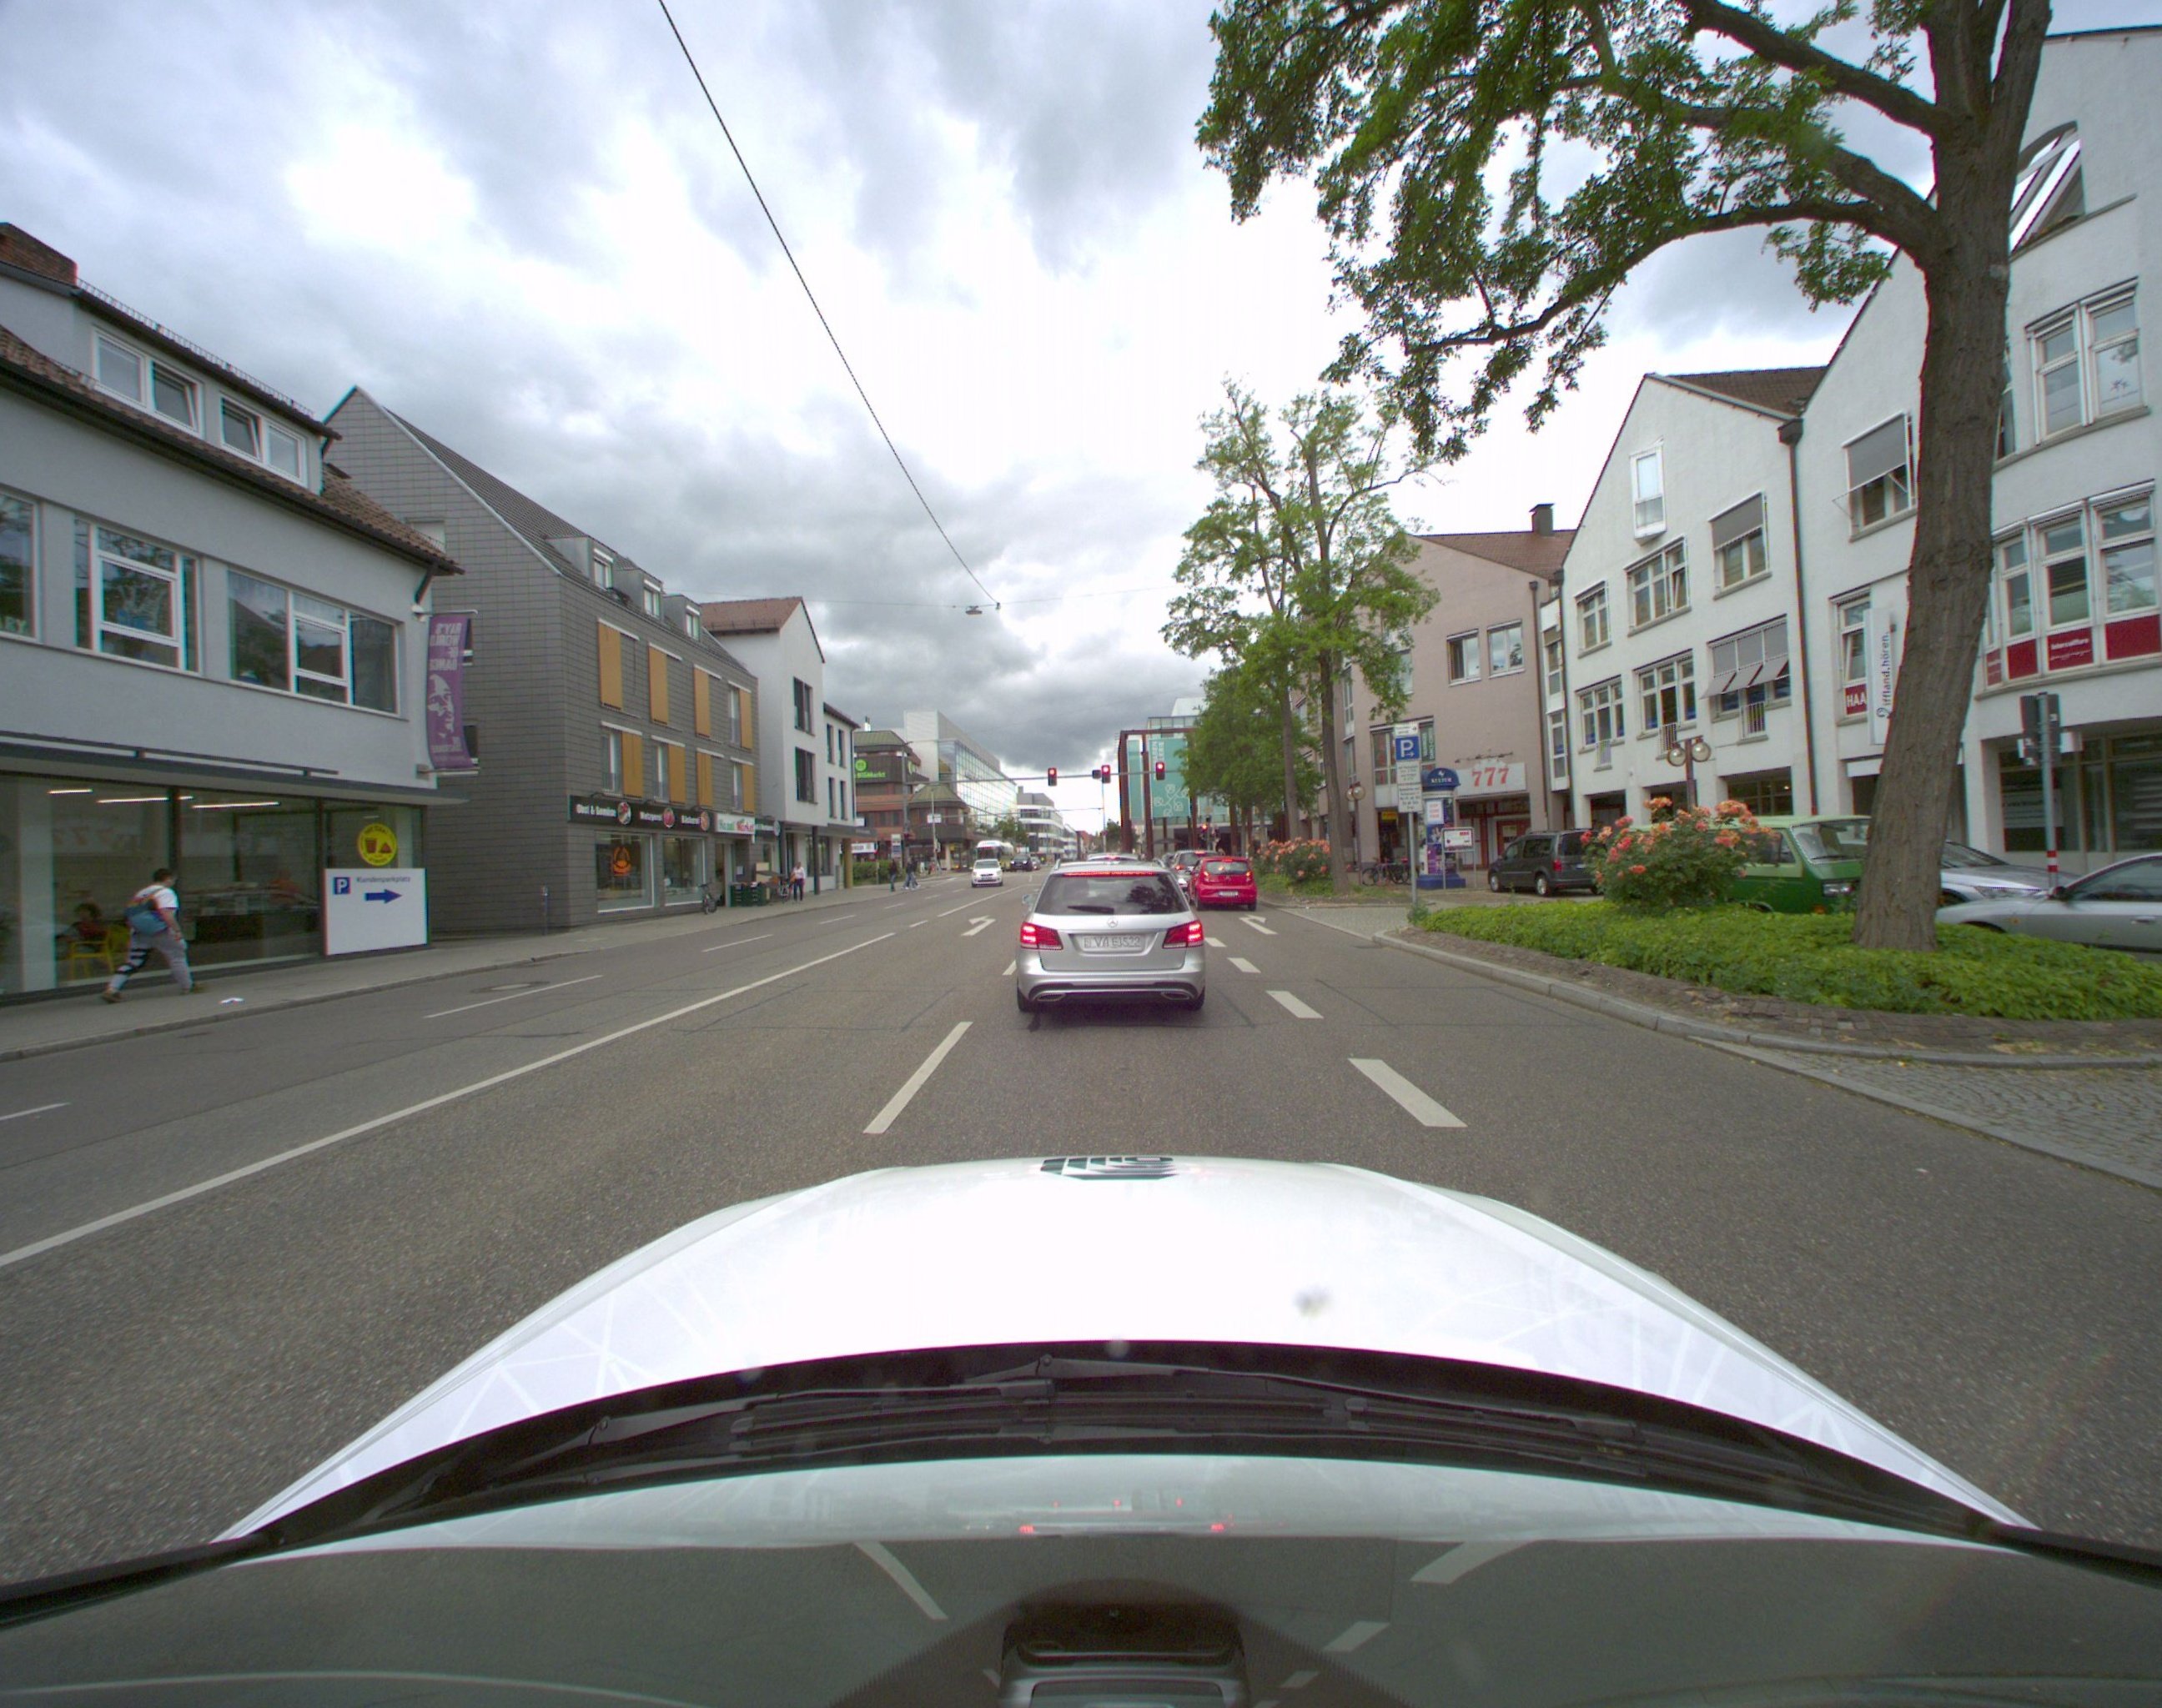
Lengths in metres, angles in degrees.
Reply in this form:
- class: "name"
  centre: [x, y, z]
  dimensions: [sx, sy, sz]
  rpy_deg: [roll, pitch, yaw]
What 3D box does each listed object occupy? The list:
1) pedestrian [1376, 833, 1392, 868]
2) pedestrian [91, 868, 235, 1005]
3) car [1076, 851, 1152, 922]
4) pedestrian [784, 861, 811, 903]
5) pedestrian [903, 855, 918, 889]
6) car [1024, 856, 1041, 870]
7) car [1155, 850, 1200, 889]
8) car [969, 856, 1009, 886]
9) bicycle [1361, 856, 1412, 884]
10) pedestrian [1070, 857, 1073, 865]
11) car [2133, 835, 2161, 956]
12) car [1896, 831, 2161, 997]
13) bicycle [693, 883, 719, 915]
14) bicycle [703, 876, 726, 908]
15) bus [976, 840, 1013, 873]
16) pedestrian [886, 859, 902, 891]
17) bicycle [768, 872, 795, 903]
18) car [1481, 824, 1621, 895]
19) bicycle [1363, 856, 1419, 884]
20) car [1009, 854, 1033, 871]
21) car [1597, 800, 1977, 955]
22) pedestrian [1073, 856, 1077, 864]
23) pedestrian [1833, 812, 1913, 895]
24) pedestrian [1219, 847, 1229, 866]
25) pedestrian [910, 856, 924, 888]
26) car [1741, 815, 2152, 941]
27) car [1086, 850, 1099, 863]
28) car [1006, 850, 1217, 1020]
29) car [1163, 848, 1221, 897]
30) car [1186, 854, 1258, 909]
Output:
- class: "pedestrian"
  centre: [16.102, -0.173, 43.269]
  dimensions: [0.644, 1.834, 0.614]
  rpy_deg: [-2, 0, 24]
- class: "pedestrian"
  centre: [-12.106, 1.052, 10.774]
  dimensions: [0.751, 1.705, 0.981]
  rpy_deg: [1, 0, 2]
- class: "car"
  centre: [0.773, 0.711, 19.485]
  dimensions: [1.633, 1.527, 3.395]
  rpy_deg: [-1, 0, 2]
- class: "pedestrian"
  centre: [-11.188, 1.086, 32.154]
  dimensions: [0.725, 1.610, 0.753]
  rpy_deg: [-2, 0, 2]
- class: "pedestrian"
  centre: [-9.130, 0.967, 43.631]
  dimensions: [0.646, 1.790, 0.682]
  rpy_deg: [-2, 0, -9]
- class: "car"
  centre: [-5.432, 1.005, 91.438]
  dimensions: [1.549, 1.392, 3.288]
  rpy_deg: [-2, 0, 1]
- class: "car"
  centre: [4.193, 0.644, 35.974]
  dimensions: [1.581, 1.595, 3.868]
  rpy_deg: [0, 0, 1]
- class: "car"
  centre: [-4.918, 0.884, 43.915]
  dimensions: [1.568, 1.488, 3.465]
  rpy_deg: [-3, 0, 1]
- class: "bicycle"
  centre: [11.751, 0.620, 31.335]
  dimensions: [1.759, 0.997, 0.447]
  rpy_deg: [-2, 0, 6]
- class: "pedestrian"
  centre: [-1.900, 1.392, 165.335]
  dimensions: [0.515, 1.733, 0.491]
  rpy_deg: [-2, 0, 17]
- class: "car"
  centre: [13.346, 0.420, 7.340]
  dimensions: [1.991, 1.376, 4.419]
  rpy_deg: [-3, 0, 0]
- class: "car"
  centre: [10.568, 0.520, 7.460]
  dimensions: [1.757, 1.450, 4.419]
  rpy_deg: [-2, 0, 0]
- class: "bicycle"
  centre: [-12.140, 1.457, 26.382]
  dimensions: [0.325, 0.954, 1.479]
  rpy_deg: [-2, 0, -9]
- class: "bicycle"
  centre: [-13.755, 1.414, 30.583]
  dimensions: [0.386, 1.127, 1.286]
  rpy_deg: [-2, 0, -8]
- class: "bus"
  centre: [-9.125, 0.252, 86.833]
  dimensions: [2.677, 3.261, 8.655]
  rpy_deg: [-2, 0, 1]
- class: "pedestrian"
  centre: [-9.690, 1.090, 42.236]
  dimensions: [0.650, 1.650, 0.559]
  rpy_deg: [-2, 0, -2]
- class: "bicycle"
  centre: [-12.221, 1.336, 33.246]
  dimensions: [0.385, 1.186, 1.825]
  rpy_deg: [-2, 0, -1]
- class: "car"
  centre: [13.648, 0.141, 23.934]
  dimensions: [1.633, 1.831, 3.964]
  rpy_deg: [-3, 0, -2]
- class: "bicycle"
  centre: [11.720, 0.600, 30.789]
  dimensions: [1.891, 0.997, 0.468]
  rpy_deg: [-2, 0, 6]
- class: "car"
  centre: [-6.175, 0.866, 83.885]
  dimensions: [1.986, 1.706, 4.065]
  rpy_deg: [-2, 0, 1]
- class: "car"
  centre: [10.509, 0.300, 12.735]
  dimensions: [1.874, 1.876, 4.605]
  rpy_deg: [-3, 0, 0]
- class: "pedestrian"
  centre: [-1.218, 1.222, 165.884]
  dimensions: [0.515, 1.733, 0.491]
  rpy_deg: [-2, 0, 15]
- class: "pedestrian"
  centre: [16.784, -0.017, 17.276]
  dimensions: [0.786, 1.659, 0.819]
  rpy_deg: [-4, 0, 2]
- class: "pedestrian"
  centre: [12.589, 0.252, 71.471]
  dimensions: [0.652, 1.650, 0.557]
  rpy_deg: [-2, 0, -13]
- class: "pedestrian"
  centre: [-9.078, 0.992, 44.998]
  dimensions: [0.646, 1.775, 0.567]
  rpy_deg: [-2, 0, -16]
- class: "car"
  centre: [13.166, 0.313, 12.902]
  dimensions: [1.790, 1.542, 4.394]
  rpy_deg: [-3, 0, 0]
- class: "car"
  centre: [1.809, 0.402, 125.170]
  dimensions: [1.986, 1.949, 4.951]
  rpy_deg: [-2, 0, 1]
- class: "car"
  centre: [0.347, 0.704, 9.176]
  dimensions: [1.808, 1.448, 4.372]
  rpy_deg: [0, 0, 2]
- class: "car"
  centre: [3.889, 0.606, 29.106]
  dimensions: [1.581, 1.634, 3.916]
  rpy_deg: [0, 0, 1]
- class: "car"
  centre: [3.908, 0.722, 23.060]
  dimensions: [1.580, 1.443, 3.350]
  rpy_deg: [0, 0, 2]
